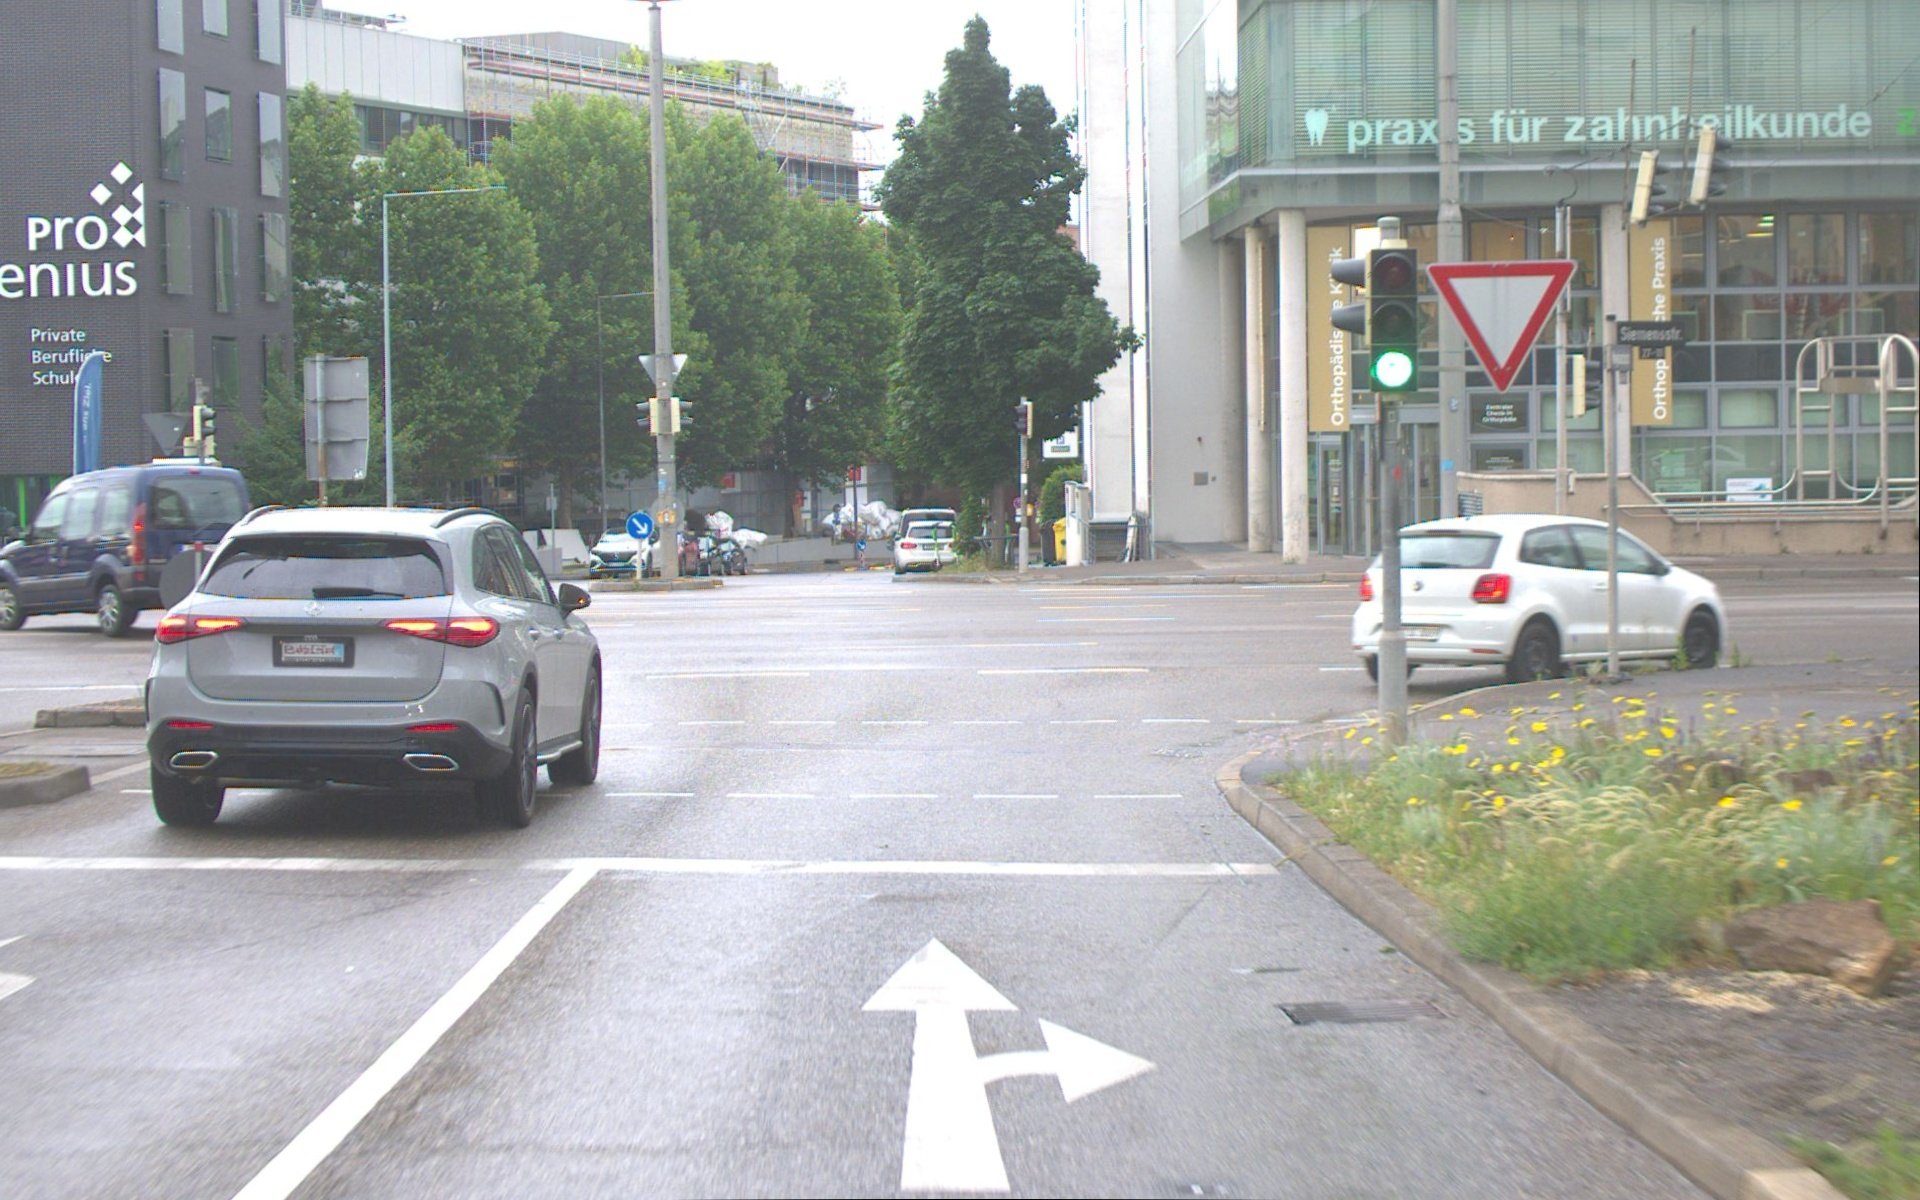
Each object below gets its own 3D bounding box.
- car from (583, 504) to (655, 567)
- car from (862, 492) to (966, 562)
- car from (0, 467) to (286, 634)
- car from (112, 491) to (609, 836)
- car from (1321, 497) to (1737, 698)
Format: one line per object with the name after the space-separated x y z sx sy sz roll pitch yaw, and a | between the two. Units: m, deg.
-11.220 -2.126 113.323 1.993 2.007 4.000 1 1 -1 | car
-1.211 -1.868 88.233 1.993 1.711 4.001 1 1 -10 | car
-9.402 -0.579 38.610 1.853 1.762 4.130 -2 2 -39 | car
-3.109 0.255 18.680 1.908 1.626 4.211 1 1 0 | car
4.951 -0.077 29.651 1.675 1.468 3.770 3 5 44 | car
